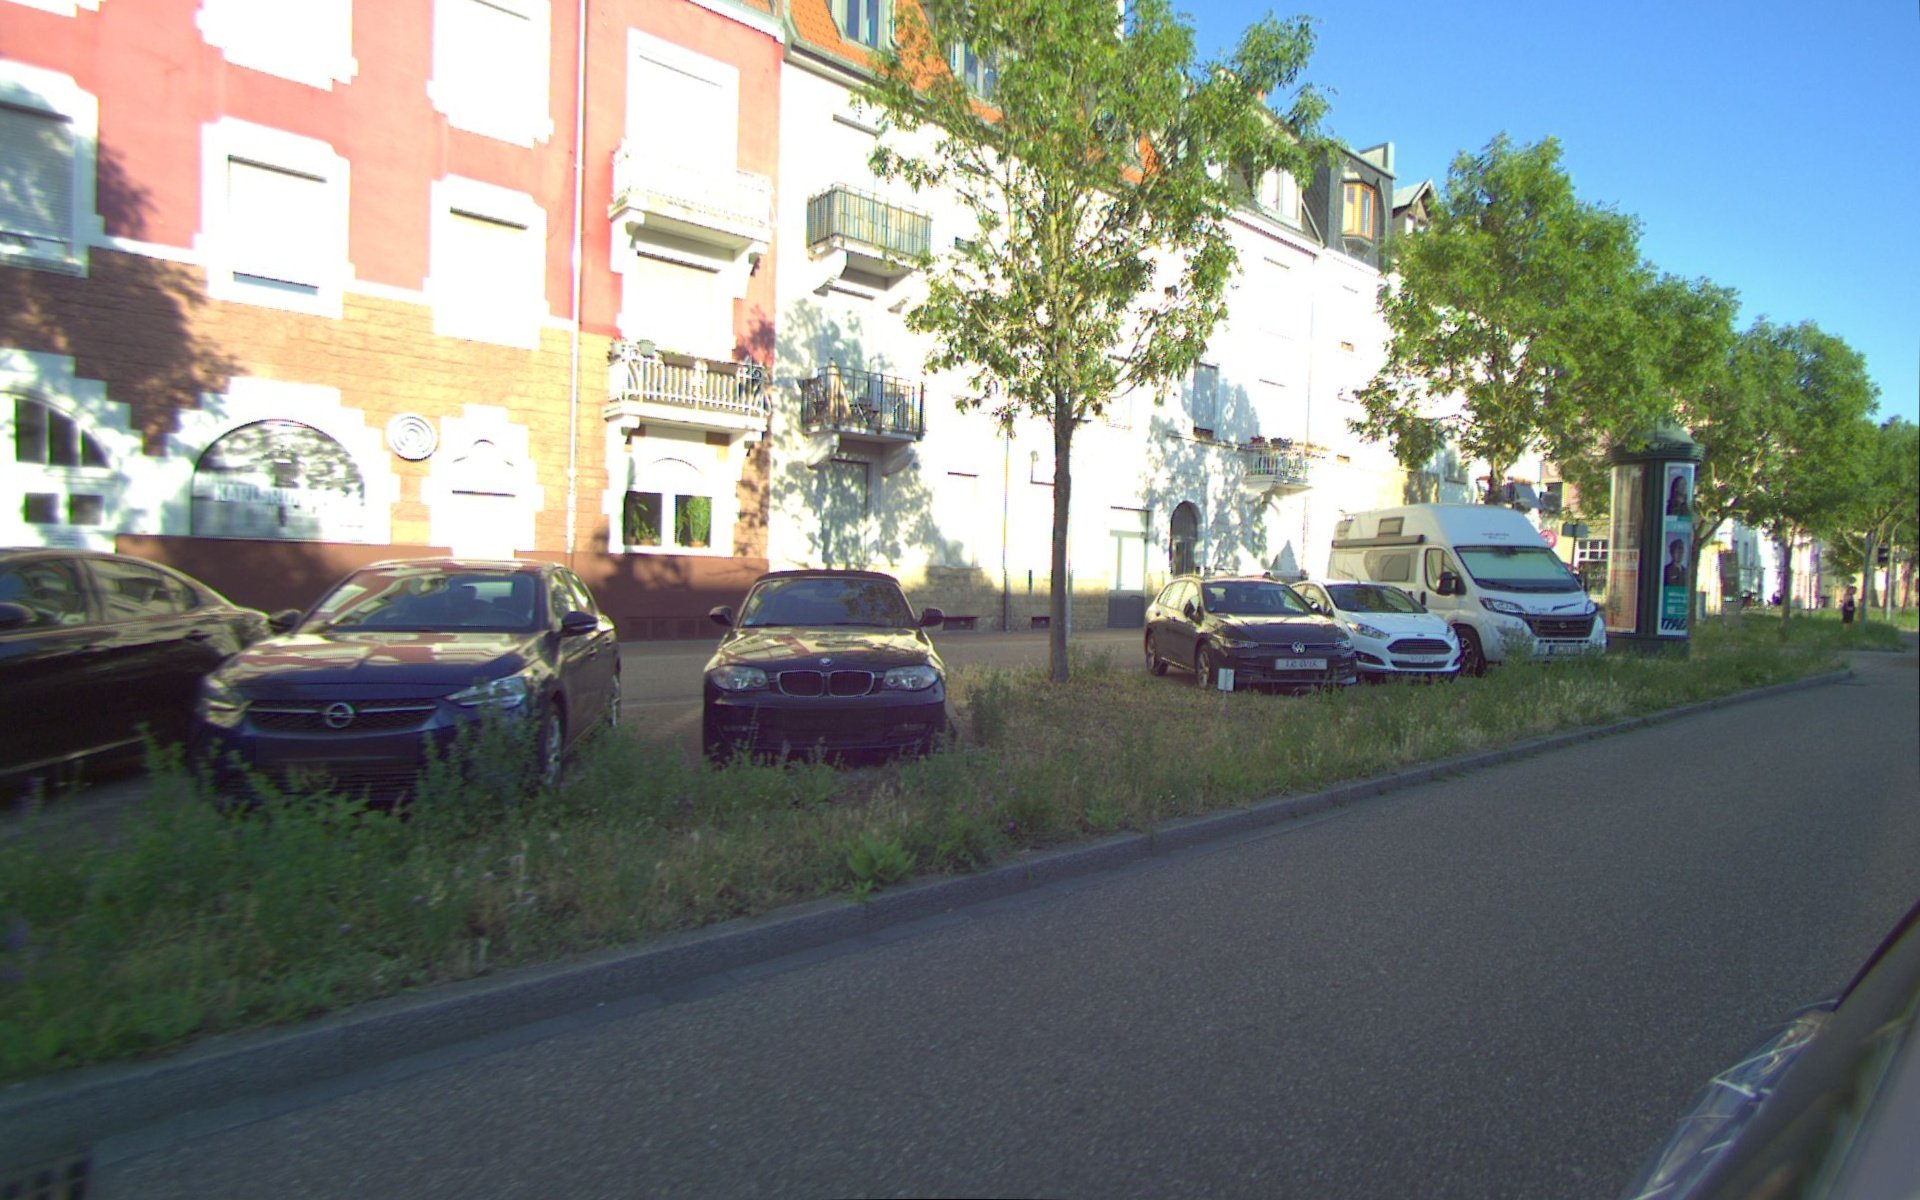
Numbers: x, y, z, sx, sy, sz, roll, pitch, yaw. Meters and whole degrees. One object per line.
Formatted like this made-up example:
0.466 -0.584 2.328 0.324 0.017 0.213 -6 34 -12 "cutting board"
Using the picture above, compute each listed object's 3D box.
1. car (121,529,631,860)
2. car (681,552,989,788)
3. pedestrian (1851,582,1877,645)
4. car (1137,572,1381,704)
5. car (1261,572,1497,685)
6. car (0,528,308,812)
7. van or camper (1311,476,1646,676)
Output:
-3.265 0.371 6.598 1.691 1.455 4.061 0 1 -12 "car"
-1.072 0.411 8.516 1.883 1.441 4.443 1 1 -8 "car"
29.718 0.444 33.270 0.588 2.038 0.513 0 1 -40 "pedestrian"
3.710 0.368 13.423 1.761 1.420 4.280 1 2 -2 "car"
6.040 0.320 15.126 1.761 1.420 3.926 1 2 -2 "car"
-5.785 0.328 5.486 1.848 1.434 4.440 1 1 -4 "car"
8.495 -0.427 17.430 2.159 2.847 5.661 1 2 -8 "van or camper"
